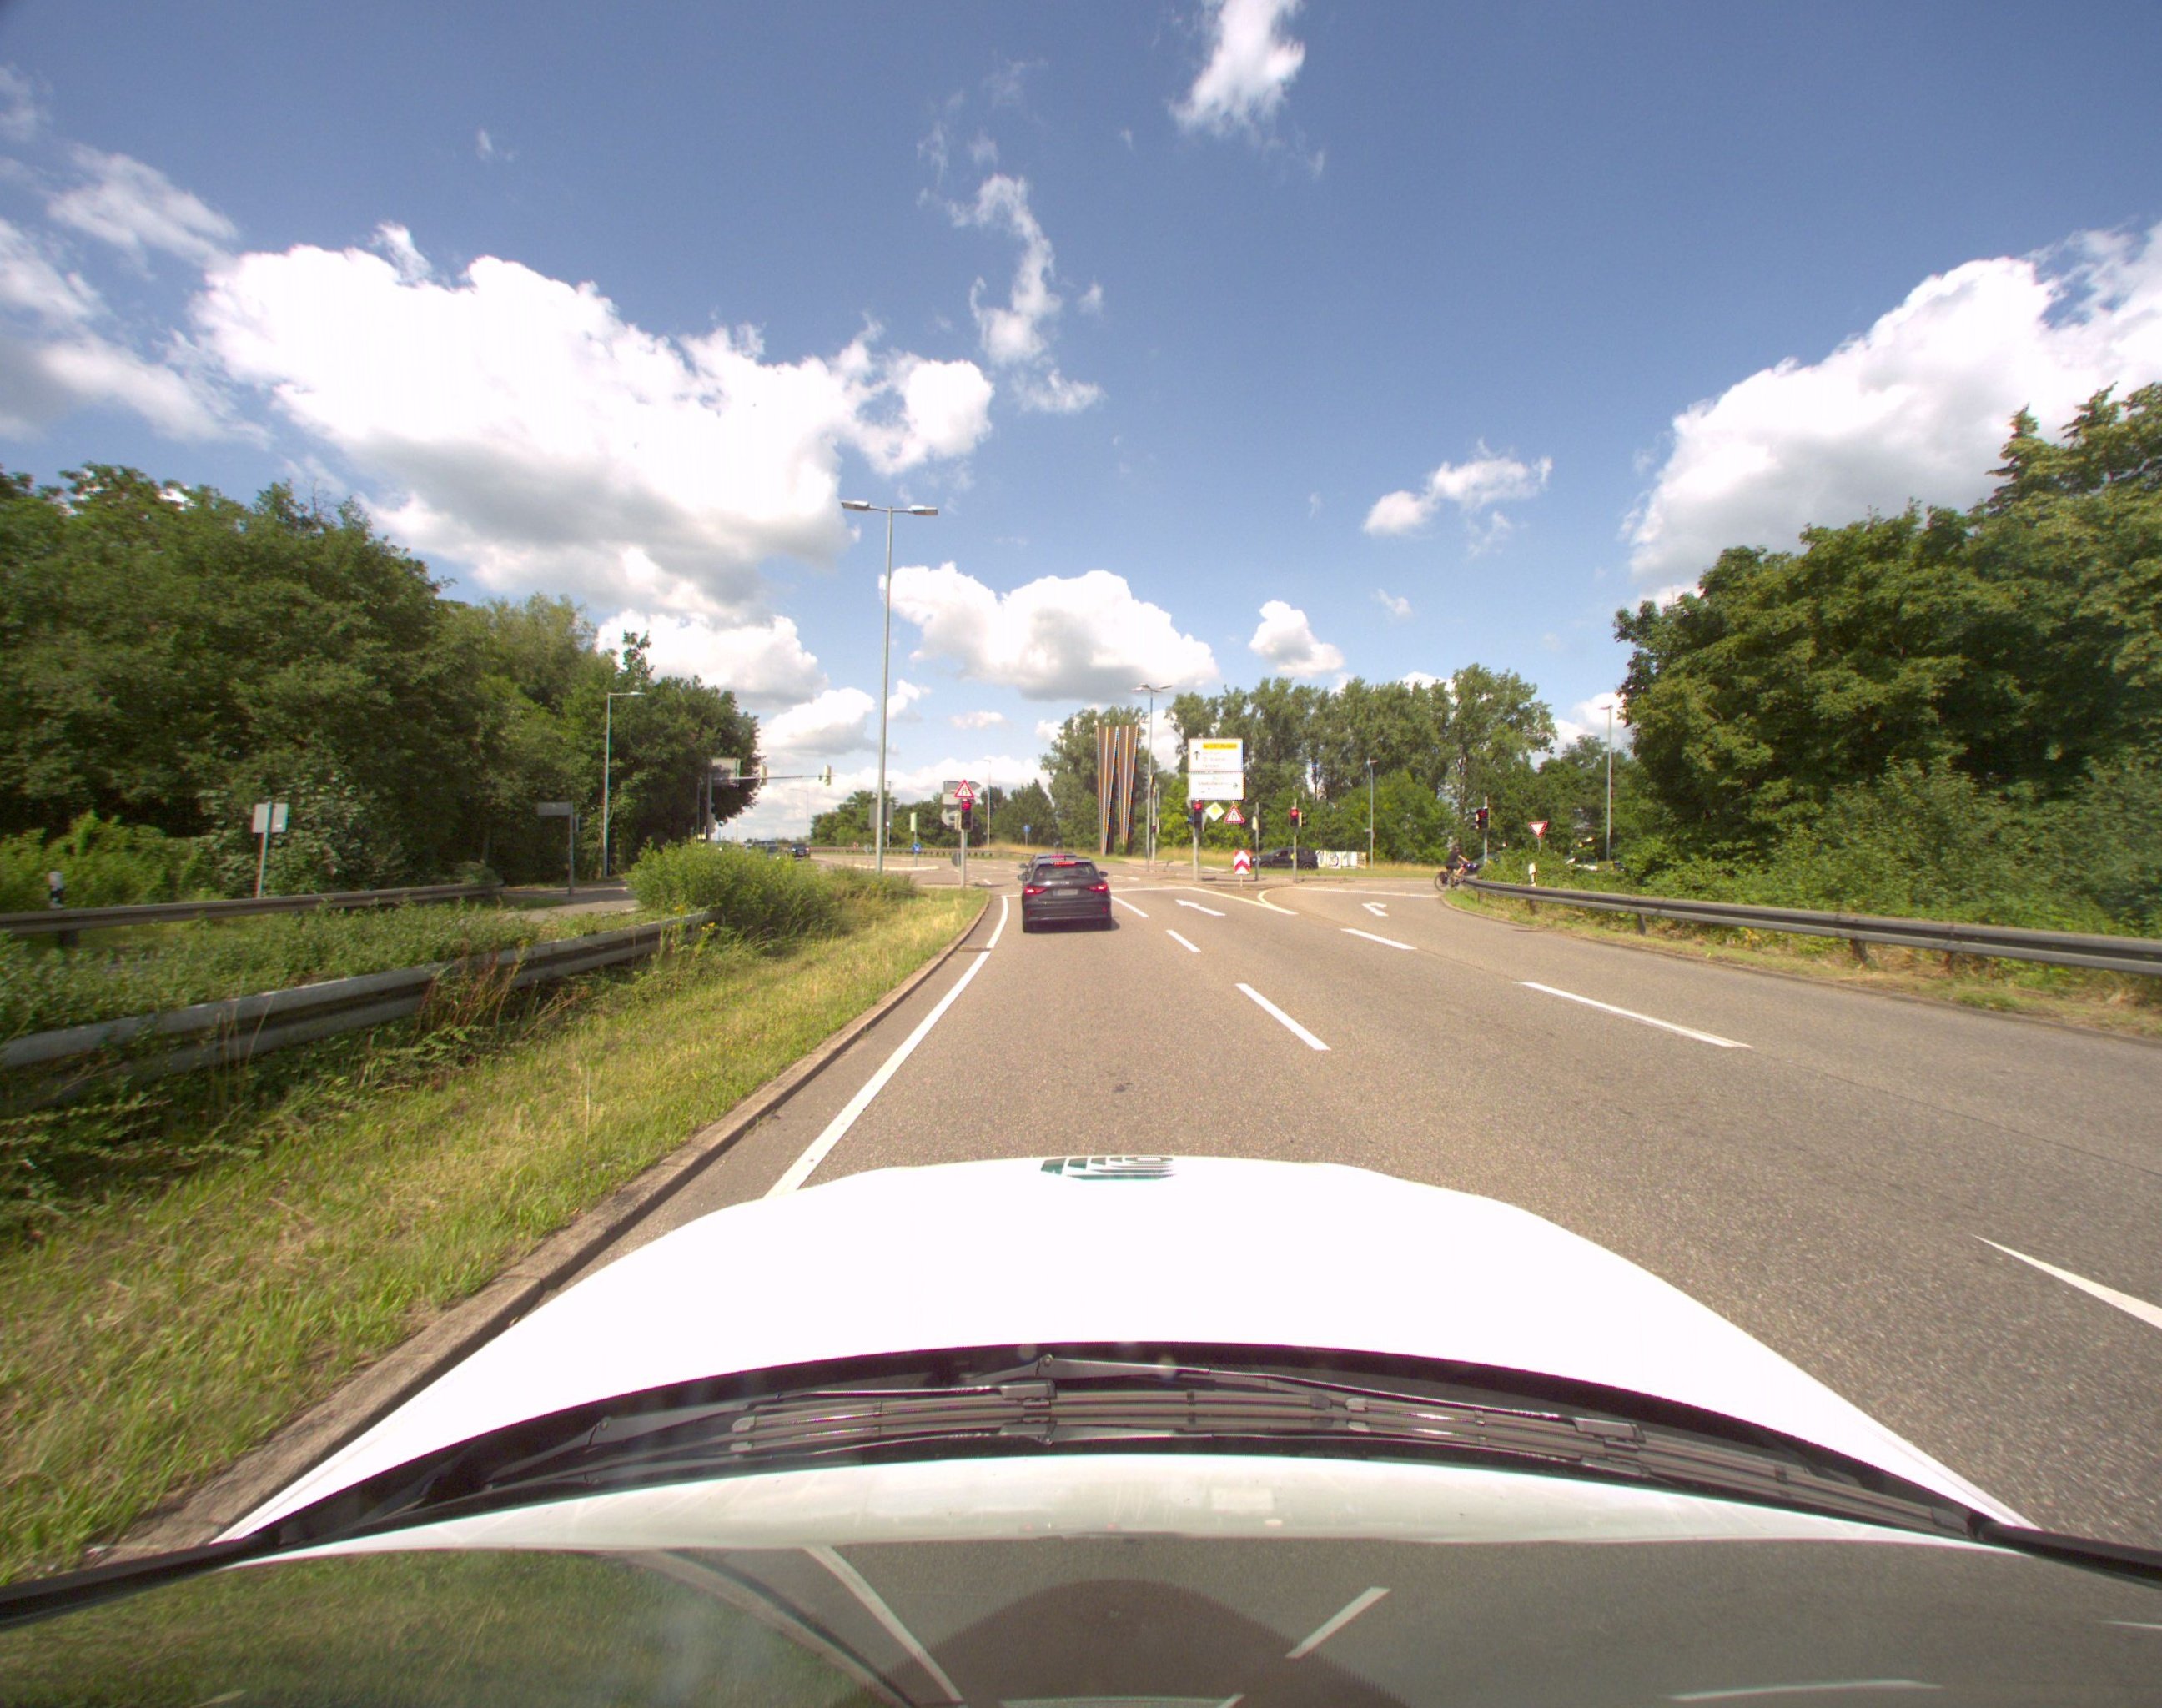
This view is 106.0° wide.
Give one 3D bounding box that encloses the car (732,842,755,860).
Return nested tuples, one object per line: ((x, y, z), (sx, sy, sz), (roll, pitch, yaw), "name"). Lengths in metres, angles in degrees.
((-34.033, -0.292, 82.054), (1.853, 1.705, 4.288), (0, 0, -27), "car")

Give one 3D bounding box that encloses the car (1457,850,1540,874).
((28.409, 0.524, 55.511), (4.836, 1.545, 1.735), (0, 0, -3), "car")

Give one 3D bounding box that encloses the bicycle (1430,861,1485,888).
((14.708, 0.805, 31.814), (2.057, 1.023, 0.668), (0, 0, -17), "bicycle")

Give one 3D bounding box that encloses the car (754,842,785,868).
((-20.922, 0.095, 54.600), (1.846, 1.618, 3.970), (-1, -1, -22), "car")

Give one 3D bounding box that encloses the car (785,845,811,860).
((-26.610, -0.131, 76.497), (1.956, 1.418, 3.939), (0, 0, -24), "car")

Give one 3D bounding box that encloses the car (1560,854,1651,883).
((28.667, 0.782, 44.592), (4.030, 1.476, 1.733), (2, 0, -7), "car")

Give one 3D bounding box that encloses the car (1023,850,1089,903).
((-0.846, 0.613, 24.957), (1.724, 1.423, 3.837), (-2, 1, -6), "car")

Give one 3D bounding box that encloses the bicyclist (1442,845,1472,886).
((14.670, 0.440, 31.802), (0.836, 1.560, 0.668), (0, 0, -17), "bicyclist")

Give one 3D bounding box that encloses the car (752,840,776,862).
((-26.639, -0.286, 68.341), (1.851, 1.802, 4.294), (0, 0, -22), "car")

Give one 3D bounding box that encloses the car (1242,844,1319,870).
((12.209, 0.169, 49.989), (4.258, 1.545, 1.735), (0, 0, -3), "car")

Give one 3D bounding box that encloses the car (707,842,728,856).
((-43.974, -0.634, 98.432), (1.854, 1.705, 4.285), (0, 0, -30), "car")

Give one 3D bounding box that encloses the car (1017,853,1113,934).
((-0.351, 0.725, 17.000), (1.722, 1.404, 3.997), (-2, 1, -2), "car")
